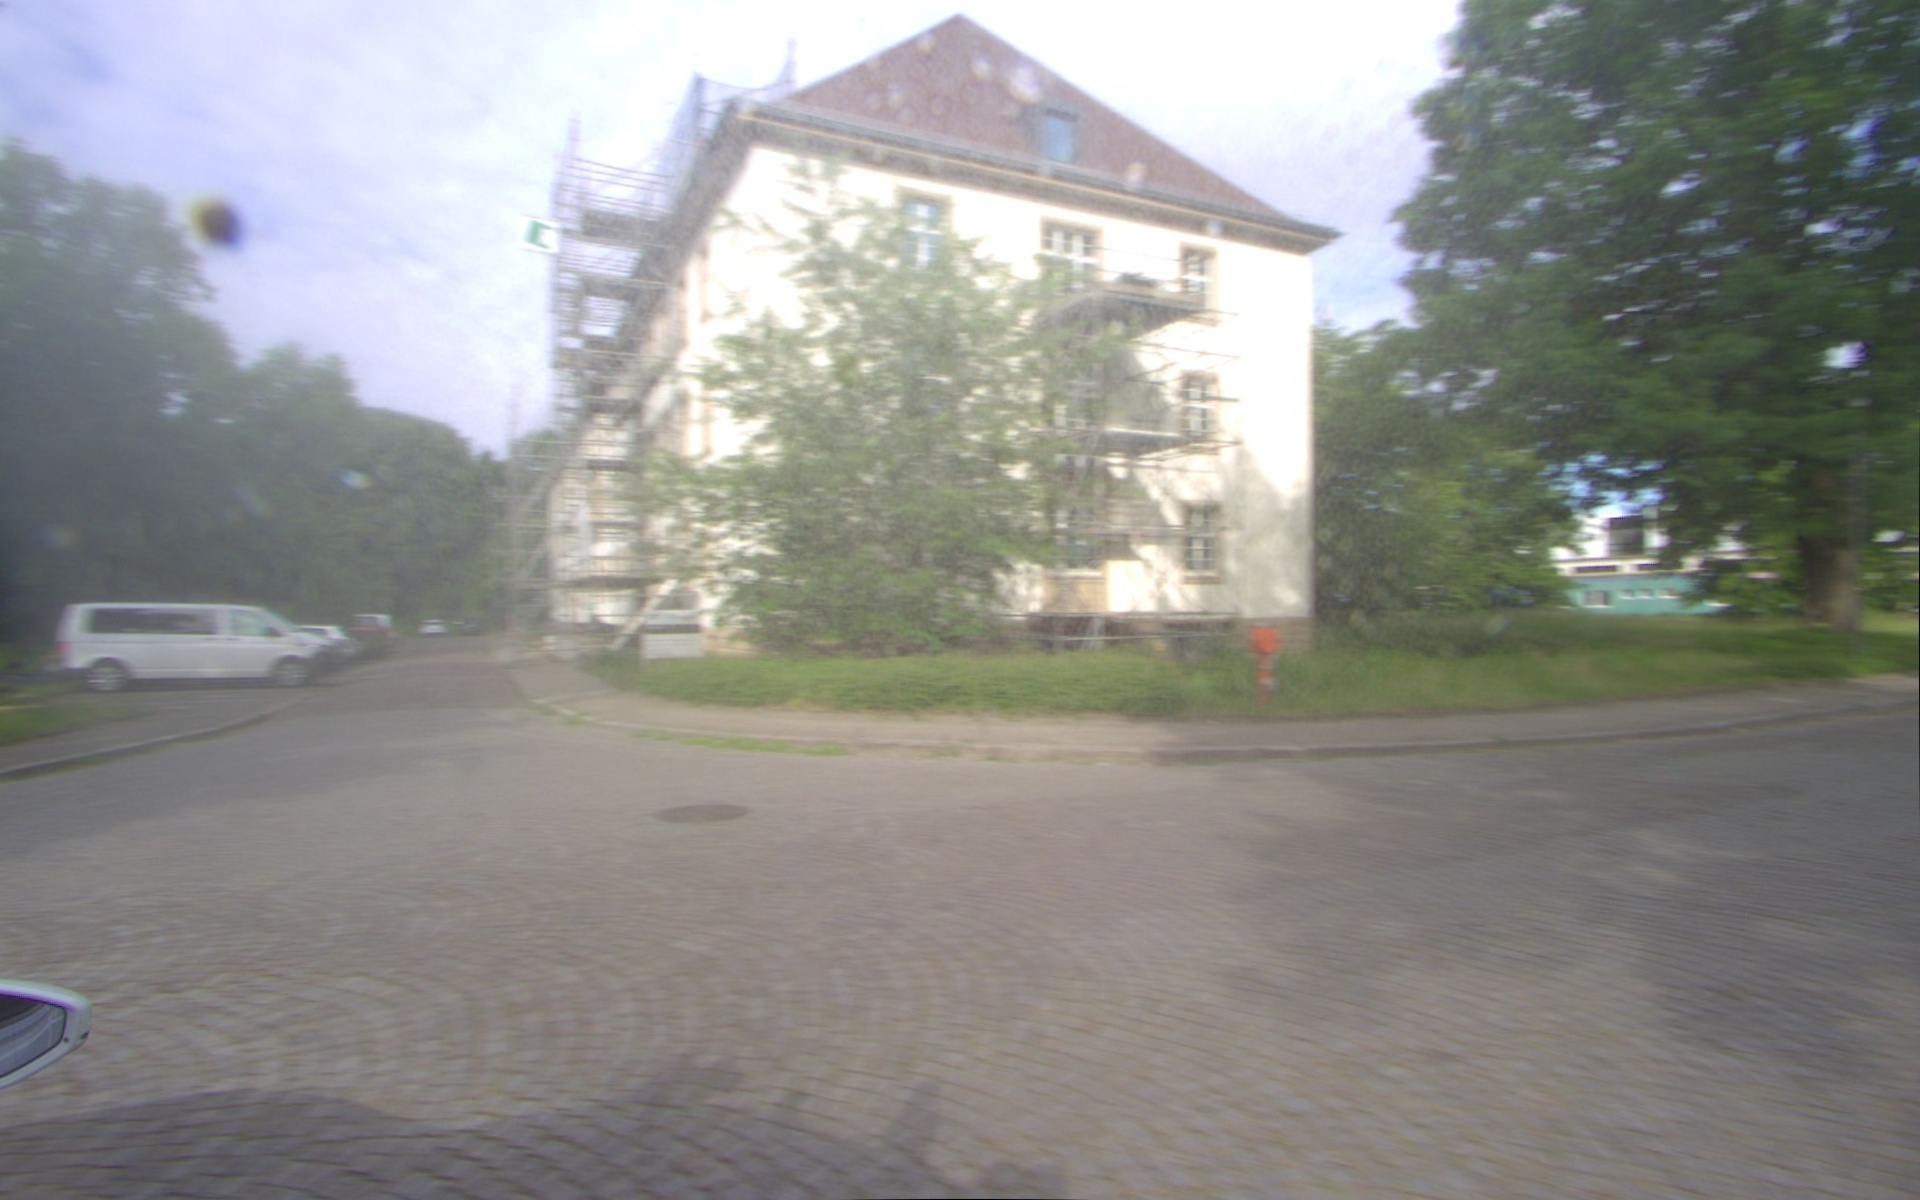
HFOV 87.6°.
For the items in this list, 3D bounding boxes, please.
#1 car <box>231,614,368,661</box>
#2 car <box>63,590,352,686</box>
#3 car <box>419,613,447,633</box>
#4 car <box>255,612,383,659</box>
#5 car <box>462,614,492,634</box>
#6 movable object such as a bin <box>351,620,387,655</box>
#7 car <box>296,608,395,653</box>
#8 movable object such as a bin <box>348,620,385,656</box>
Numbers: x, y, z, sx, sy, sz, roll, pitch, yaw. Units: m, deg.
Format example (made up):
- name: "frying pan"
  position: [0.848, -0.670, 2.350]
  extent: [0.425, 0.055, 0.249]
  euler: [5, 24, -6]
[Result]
- name: "car"
  position: [-23.023, 1.324, 35.036]
  extent: [3.577, 1.499, 1.818]
  euler: [2, -2, -18]
- name: "car"
  position: [-17.533, 0.893, 23.748]
  extent: [5.139, 2.086, 2.179]
  euler: [1, -2, -27]
- name: "car"
  position: [-44.125, 1.980, 83.761]
  extent: [1.979, 1.567, 3.940]
  euler: [3, -3, -28]
- name: "car"
  position: [-23.705, 1.335, 37.158]
  extent: [3.630, 1.612, 1.761]
  euler: [2, -2, -19]
- name: "car"
  position: [-41.182, 2.063, 85.480]
  extent: [2.037, 1.613, 3.988]
  euler: [2, -3, -23]
- name: "movable object such as a bin"
  position: [-24.817, 1.595, 42.054]
  extent: [1.169, 1.425, 0.972]
  euler: [2, -2, -25]
- name: "car"
  position: [-29.539, 1.502, 48.296]
  extent: [3.944, 2.039, 1.912]
  euler: [3, -2, -30]
- name: "movable object such as a bin"
  position: [-24.286, 1.556, 40.981]
  extent: [1.169, 1.425, 0.972]
  euler: [2, -2, -25]
